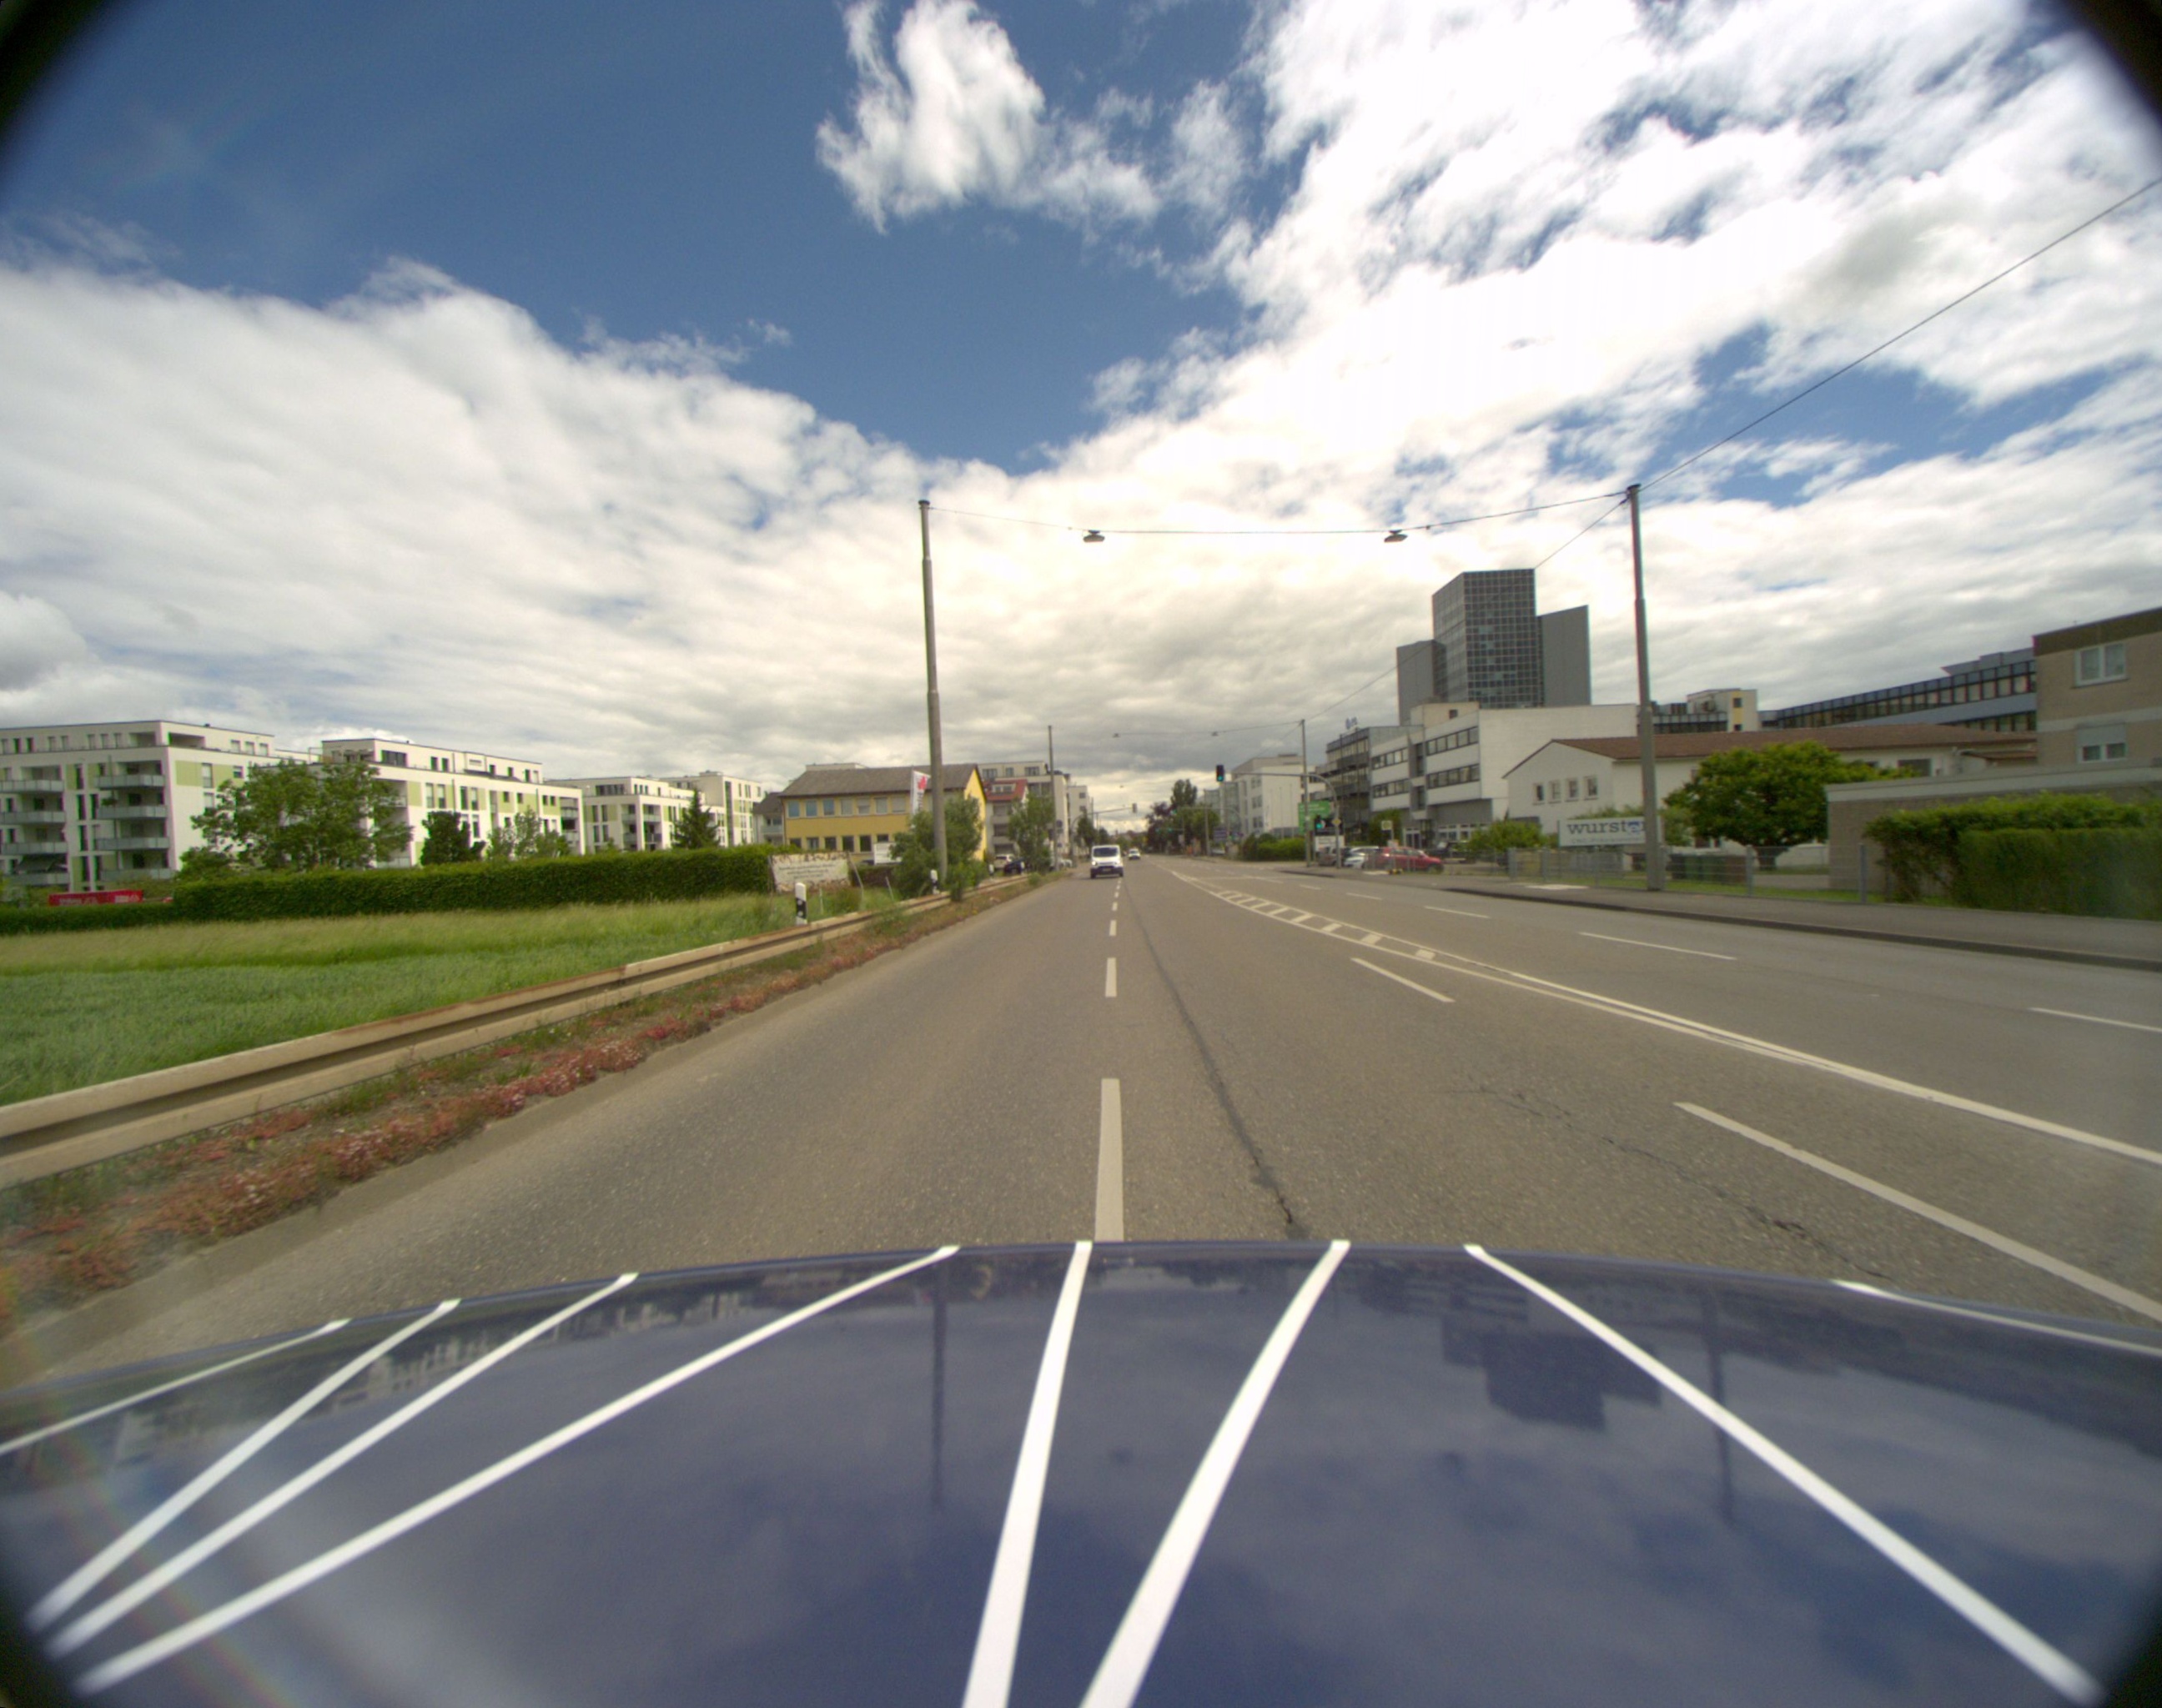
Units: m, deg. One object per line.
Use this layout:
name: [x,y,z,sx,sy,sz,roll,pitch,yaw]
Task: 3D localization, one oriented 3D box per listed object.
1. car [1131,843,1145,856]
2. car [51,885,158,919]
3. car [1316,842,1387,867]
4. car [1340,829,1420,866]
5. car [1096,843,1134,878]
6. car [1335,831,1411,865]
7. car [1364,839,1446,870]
car: [9.066,-0.706,121.090,1.800,2.002,3.999,-2,1,-1]
car: [-66.823,3.270,52.054,4.438,2.002,1.999,-2,1,-3]
car: [17.806,0.031,50.157,3.997,1.324,1.824,-4,0,0]
car: [17.746,-0.375,45.191,3.997,2.002,1.919,-2,1,0]
car: [2.042,0.334,47.084,1.998,1.907,5.880,-2,1,0]
car: [18.259,-0.382,47.670,3.997,2.002,1.903,-2,1,1]
car: [18.133,0.037,42.608,3.802,1.602,1.835,-2,0,-2]
